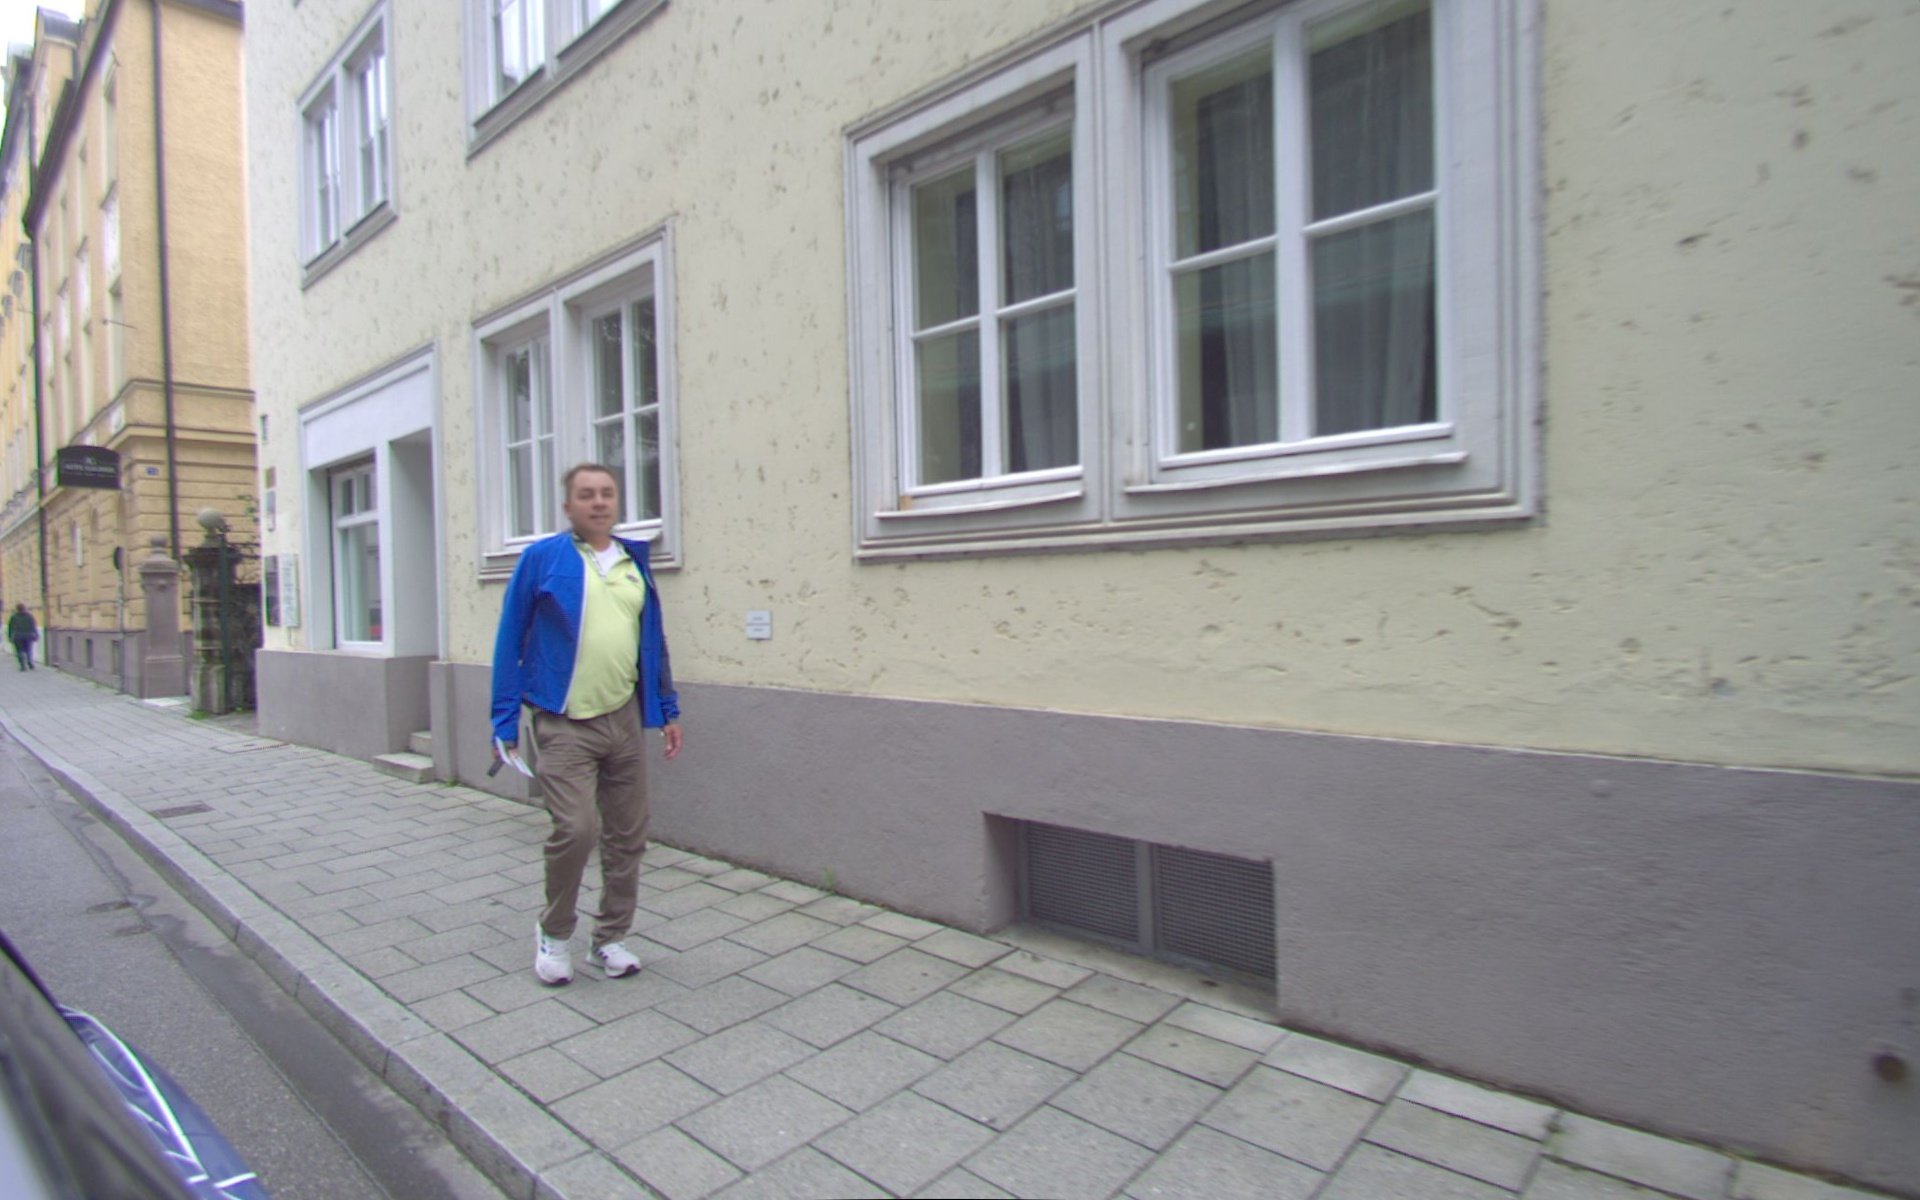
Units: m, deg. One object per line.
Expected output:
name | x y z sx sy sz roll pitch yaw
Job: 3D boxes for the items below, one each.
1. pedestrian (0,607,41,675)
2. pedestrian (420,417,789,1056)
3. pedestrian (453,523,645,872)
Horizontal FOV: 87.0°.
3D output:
pedestrian | -24.242 1.039 26.035 0.930 1.678 0.705 -2 3 43
pedestrian | -1.278 0.394 3.593 1.077 1.868 0.749 -1 2 43
pedestrian | -2.184 0.467 5.378 0.723 1.689 0.640 -1 1 42
